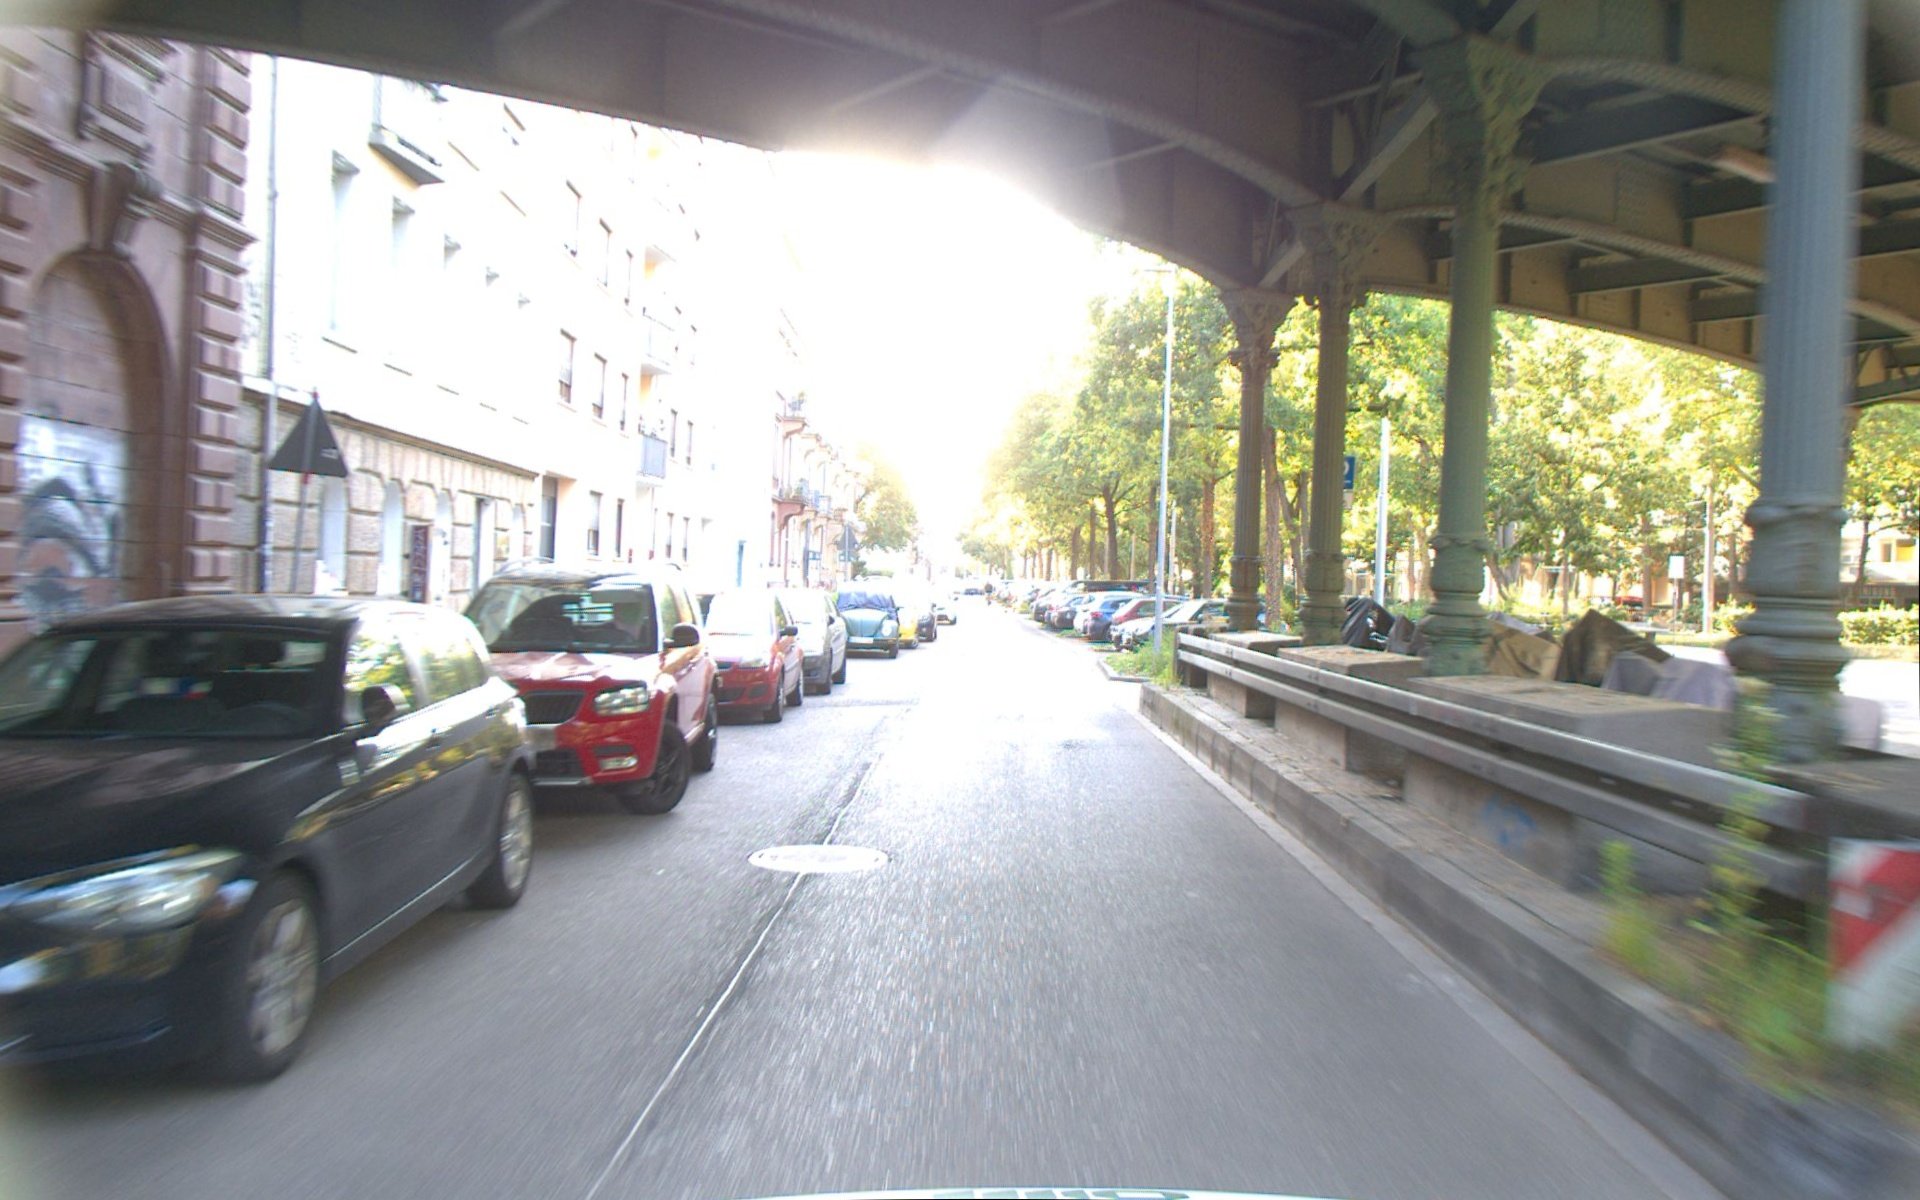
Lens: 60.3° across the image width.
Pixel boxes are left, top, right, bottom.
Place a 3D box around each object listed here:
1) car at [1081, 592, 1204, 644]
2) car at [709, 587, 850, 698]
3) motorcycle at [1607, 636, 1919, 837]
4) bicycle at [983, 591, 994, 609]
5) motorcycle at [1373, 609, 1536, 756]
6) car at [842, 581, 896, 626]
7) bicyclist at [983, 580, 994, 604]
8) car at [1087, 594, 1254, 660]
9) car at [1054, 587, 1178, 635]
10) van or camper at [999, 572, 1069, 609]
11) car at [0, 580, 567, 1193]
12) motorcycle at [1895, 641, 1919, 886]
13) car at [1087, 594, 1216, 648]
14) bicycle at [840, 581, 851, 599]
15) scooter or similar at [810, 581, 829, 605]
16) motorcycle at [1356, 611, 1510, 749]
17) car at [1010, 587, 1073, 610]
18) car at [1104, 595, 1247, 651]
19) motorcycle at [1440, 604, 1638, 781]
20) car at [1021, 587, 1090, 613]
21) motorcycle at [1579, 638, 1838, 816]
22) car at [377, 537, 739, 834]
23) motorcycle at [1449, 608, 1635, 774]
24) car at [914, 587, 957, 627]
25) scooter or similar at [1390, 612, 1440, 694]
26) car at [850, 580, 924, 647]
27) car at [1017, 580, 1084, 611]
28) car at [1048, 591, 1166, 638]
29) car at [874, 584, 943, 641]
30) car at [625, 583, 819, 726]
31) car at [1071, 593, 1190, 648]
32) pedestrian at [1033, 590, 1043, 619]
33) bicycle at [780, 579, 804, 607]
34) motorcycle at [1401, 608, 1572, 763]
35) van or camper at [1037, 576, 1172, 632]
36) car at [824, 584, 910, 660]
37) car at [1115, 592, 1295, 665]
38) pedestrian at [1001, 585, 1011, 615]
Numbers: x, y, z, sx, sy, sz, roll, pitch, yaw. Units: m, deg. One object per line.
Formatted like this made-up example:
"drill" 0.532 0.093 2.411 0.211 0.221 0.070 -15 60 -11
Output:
"car" 5.664 0.561 51.680 3.703 1.499 1.664 1 -1 2
"car" -2.590 0.572 24.537 1.603 1.492 4.000 -1 0 0
"motorcycle" 5.114 0.859 10.461 1.807 1.152 0.844 4 -1 -24
"bicycle" 1.915 0.002 111.834 0.628 1.119 1.943 3 -1 -1
"motorcycle" 5.280 0.866 17.638 1.567 1.433 0.712 3 -1 20
"car" -3.386 0.110 62.416 1.634 1.496 4.284 5 0 0
"bicyclist" 1.954 -0.556 111.929 0.615 1.600 0.802 3 -1 -2
"car" 4.923 0.643 38.989 3.704 1.426 1.827 1 -1 1
"car" 5.554 0.406 59.042 4.306 1.605 1.665 1 -1 5
"van or camper" 5.424 -0.671 121.501 4.882 2.418 2.184 3 -1 -2
"car" -2.785 0.687 6.048 1.681 1.489 4.000 1 0 0
"motorcycle" 5.390 0.830 8.113 1.706 1.152 0.704 4 -2 -35
"car" 5.636 0.613 48.831 3.702 1.472 1.665 1 -1 5
"bicycle" -8.046 -0.715 116.369 0.691 1.167 1.888 3 -1 -3
"scooter or similar" -7.932 -0.403 93.288 0.767 1.243 2.703 3 -1 0
"motorcycle" 5.334 0.888 18.651 1.567 1.433 0.712 3 -1 20
"car" 5.385 -0.121 108.970 4.131 1.478 1.650 1 0 4
"car" 6.030 0.650 46.471 3.707 1.426 1.765 1 -1 -4
"motorcycle" 5.151 0.803 14.757 1.567 1.433 0.712 3 -1 20
"car" 5.702 -0.004 99.066 4.000 1.468 1.761 0 0 -3
"motorcycle" 5.309 0.895 11.744 1.574 1.152 0.709 4 -1 -17
"car" -2.682 0.509 12.027 1.682 1.738 4.321 1 0 -2
"motorcycle" 5.496 0.841 15.669 1.567 1.433 0.712 3 -1 20
"car" -0.974 0.252 67.087 1.634 1.455 4.001 0 2 0
"scooter or similar" 7.709 0.892 28.059 0.467 1.321 1.326 3 -1 3
"car" -1.799 0.319 41.636 1.668 1.552 3.773 2 0 -1
"car" 5.710 -0.270 104.522 4.133 1.896 1.762 1 0 1
"car" 5.465 0.541 61.793 4.308 1.605 1.664 1 -1 2
"car" -1.415 0.319 46.533 1.703 1.505 4.001 1 0 1
"car" -2.695 0.573 19.567 1.654 1.466 4.000 2 0 0
"car" 5.571 0.679 54.310 3.704 1.675 1.664 1 -1 0
"pedestrian" 4.270 0.228 90.746 0.372 1.543 0.519 3 2 19
"bicycle" -7.629 -0.328 75.270 0.722 1.227 2.514 3 1 1
"motorcycle" 5.337 0.853 16.769 1.567 1.433 0.712 3 -1 20
"van or camper" 5.810 0.142 67.005 5.301 2.062 2.030 1 1 2
"car" -1.996 0.447 36.442 1.534 1.544 3.783 2 0 1
"car" 5.429 0.646 36.905 3.707 1.498 1.634 1 -1 -4
"pedestrian" 2.592 -0.003 93.401 0.372 1.612 0.519 3 2 19
